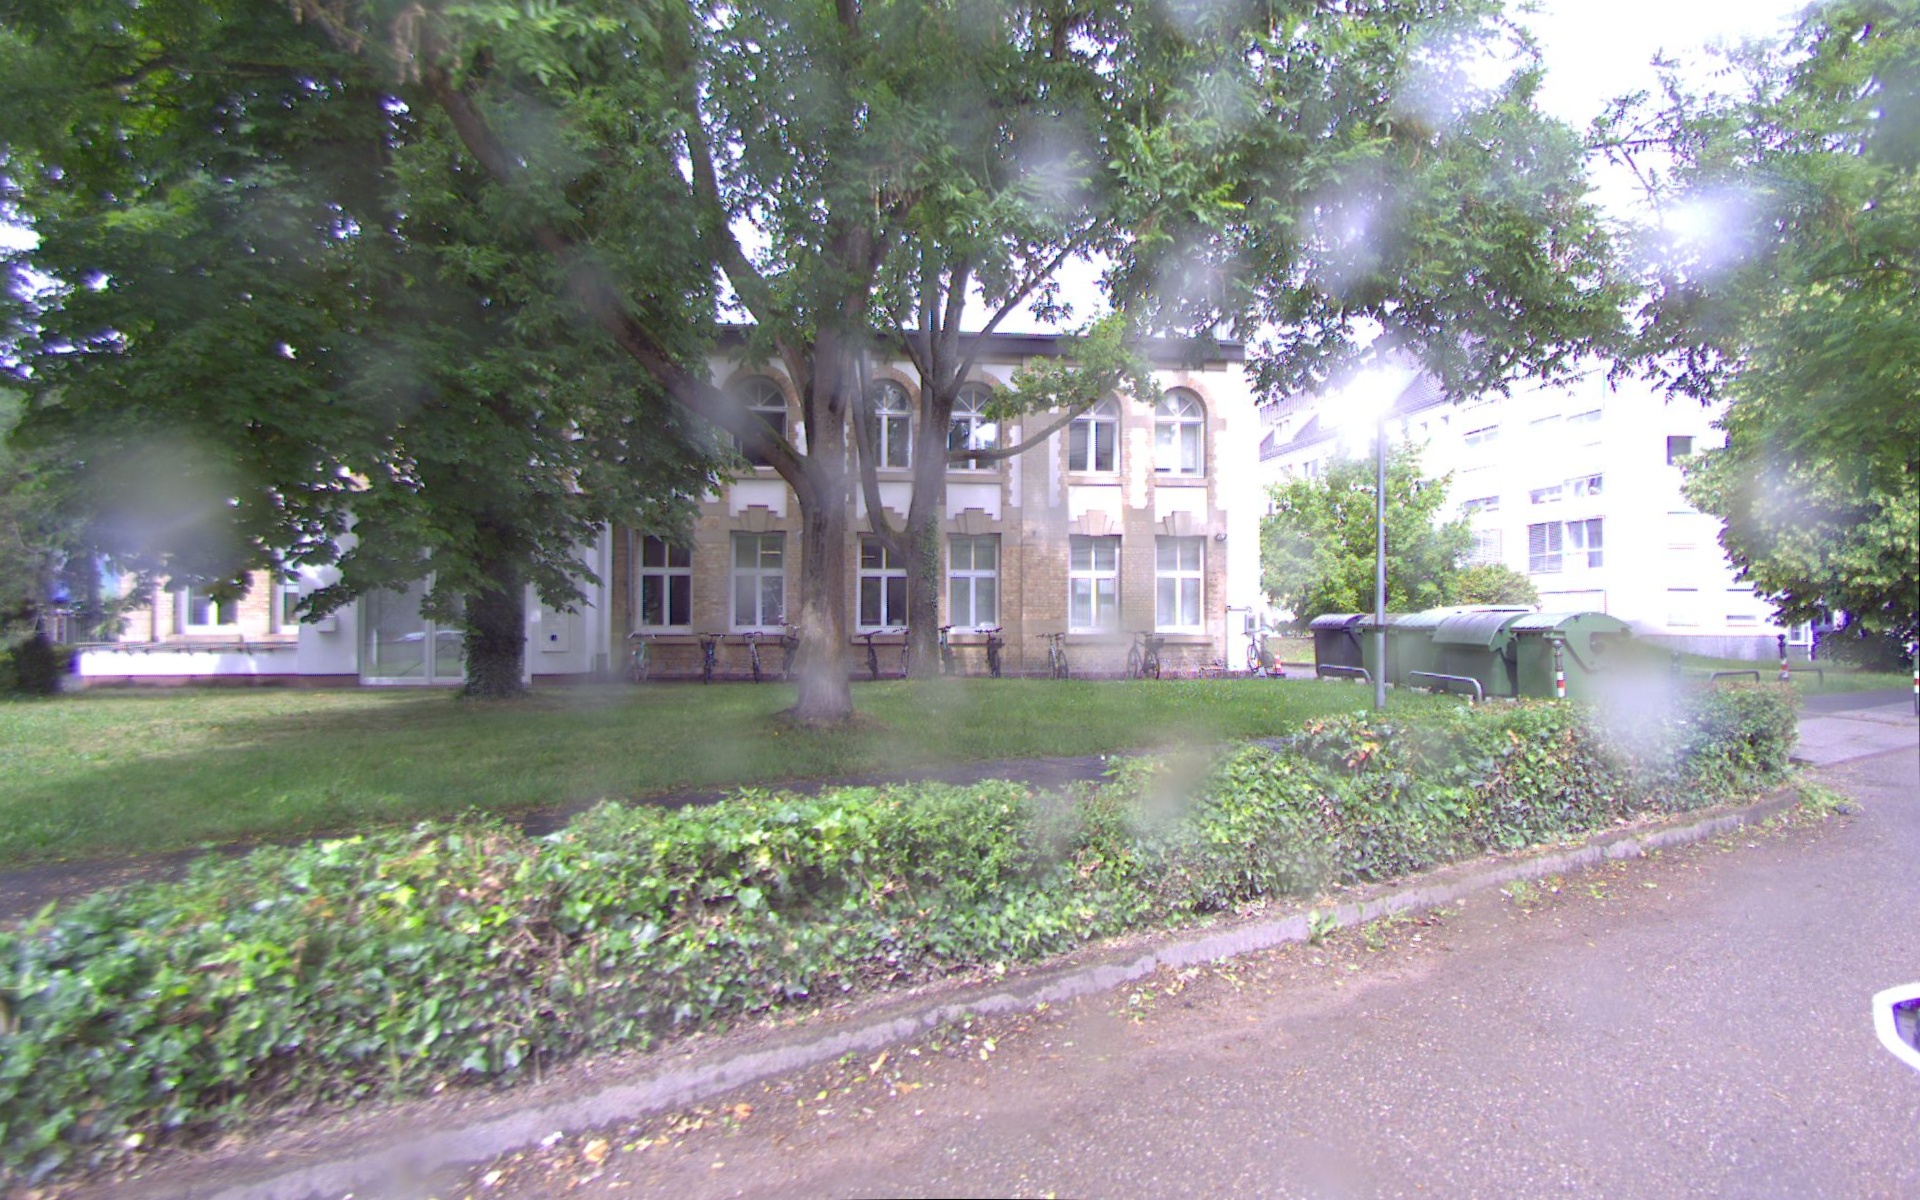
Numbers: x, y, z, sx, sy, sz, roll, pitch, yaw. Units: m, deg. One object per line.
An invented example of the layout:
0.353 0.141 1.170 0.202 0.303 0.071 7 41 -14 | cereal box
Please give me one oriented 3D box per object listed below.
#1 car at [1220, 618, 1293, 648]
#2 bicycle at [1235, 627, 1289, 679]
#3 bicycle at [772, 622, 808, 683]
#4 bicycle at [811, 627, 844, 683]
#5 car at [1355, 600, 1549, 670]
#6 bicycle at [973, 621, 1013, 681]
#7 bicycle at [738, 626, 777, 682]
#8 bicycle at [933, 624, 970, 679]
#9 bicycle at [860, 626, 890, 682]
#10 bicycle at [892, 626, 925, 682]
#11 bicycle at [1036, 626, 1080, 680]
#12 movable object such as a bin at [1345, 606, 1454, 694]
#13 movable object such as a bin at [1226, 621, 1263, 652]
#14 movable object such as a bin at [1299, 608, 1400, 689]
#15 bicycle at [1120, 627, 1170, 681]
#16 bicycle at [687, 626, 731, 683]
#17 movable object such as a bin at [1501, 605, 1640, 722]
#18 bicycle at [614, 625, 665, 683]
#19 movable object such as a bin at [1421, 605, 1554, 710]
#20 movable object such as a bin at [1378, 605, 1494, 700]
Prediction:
15.908 1.779 53.987 3.364 1.445 1.686 -2 -2 -9 | car
6.791 1.177 22.643 0.605 1.130 1.519 -1 -2 -6 | bicycle
-3.602 1.081 21.352 0.605 1.193 1.925 0 0 -6 | bicycle
-2.822 1.149 21.492 0.605 1.130 1.925 -1 -2 -6 | bicycle
14.536 1.049 29.873 4.796 1.951 2.099 1 -2 -4 | car
0.705 1.090 21.940 0.605 1.240 1.925 -1 -2 -6 | bicycle
-4.291 1.124 21.341 0.605 1.130 1.925 -1 -2 -6 | bicycle
-0.201 1.111 21.845 0.605 1.130 1.925 -1 -2 -6 | bicycle
-1.848 1.151 21.669 0.605 1.130 1.925 -1 -2 -6 | bicycle
-1.129 1.145 21.667 0.605 1.130 1.925 -1 -2 -6 | bicycle
2.142 1.161 22.132 0.605 1.130 1.787 -1 -2 -6 | bicycle
7.939 0.888 18.221 1.147 1.502 1.494 -1 -1 -11 | movable object such as a bin
12.802 1.633 45.222 1.272 1.354 1.196 -1 -1 -4 | movable object such as a bin
7.630 0.934 19.769 1.147 1.502 1.592 -1 -1 -11 | movable object such as a bin
4.089 1.180 22.341 0.605 1.130 1.787 -1 -2 -6 | bicycle
-5.221 1.124 21.016 0.605 1.130 1.925 -1 -2 -6 | bicycle
8.349 0.843 13.828 1.082 1.492 1.486 1 -1 4 | movable object such as a bin
-6.626 1.102 20.848 0.605 1.130 1.925 -1 -2 -6 | bicycle
8.002 0.845 15.298 1.148 1.503 1.399 1 0 -12 | movable object such as a bin
7.893 0.840 16.723 1.147 1.503 1.400 0 0 -10 | movable object such as a bin
